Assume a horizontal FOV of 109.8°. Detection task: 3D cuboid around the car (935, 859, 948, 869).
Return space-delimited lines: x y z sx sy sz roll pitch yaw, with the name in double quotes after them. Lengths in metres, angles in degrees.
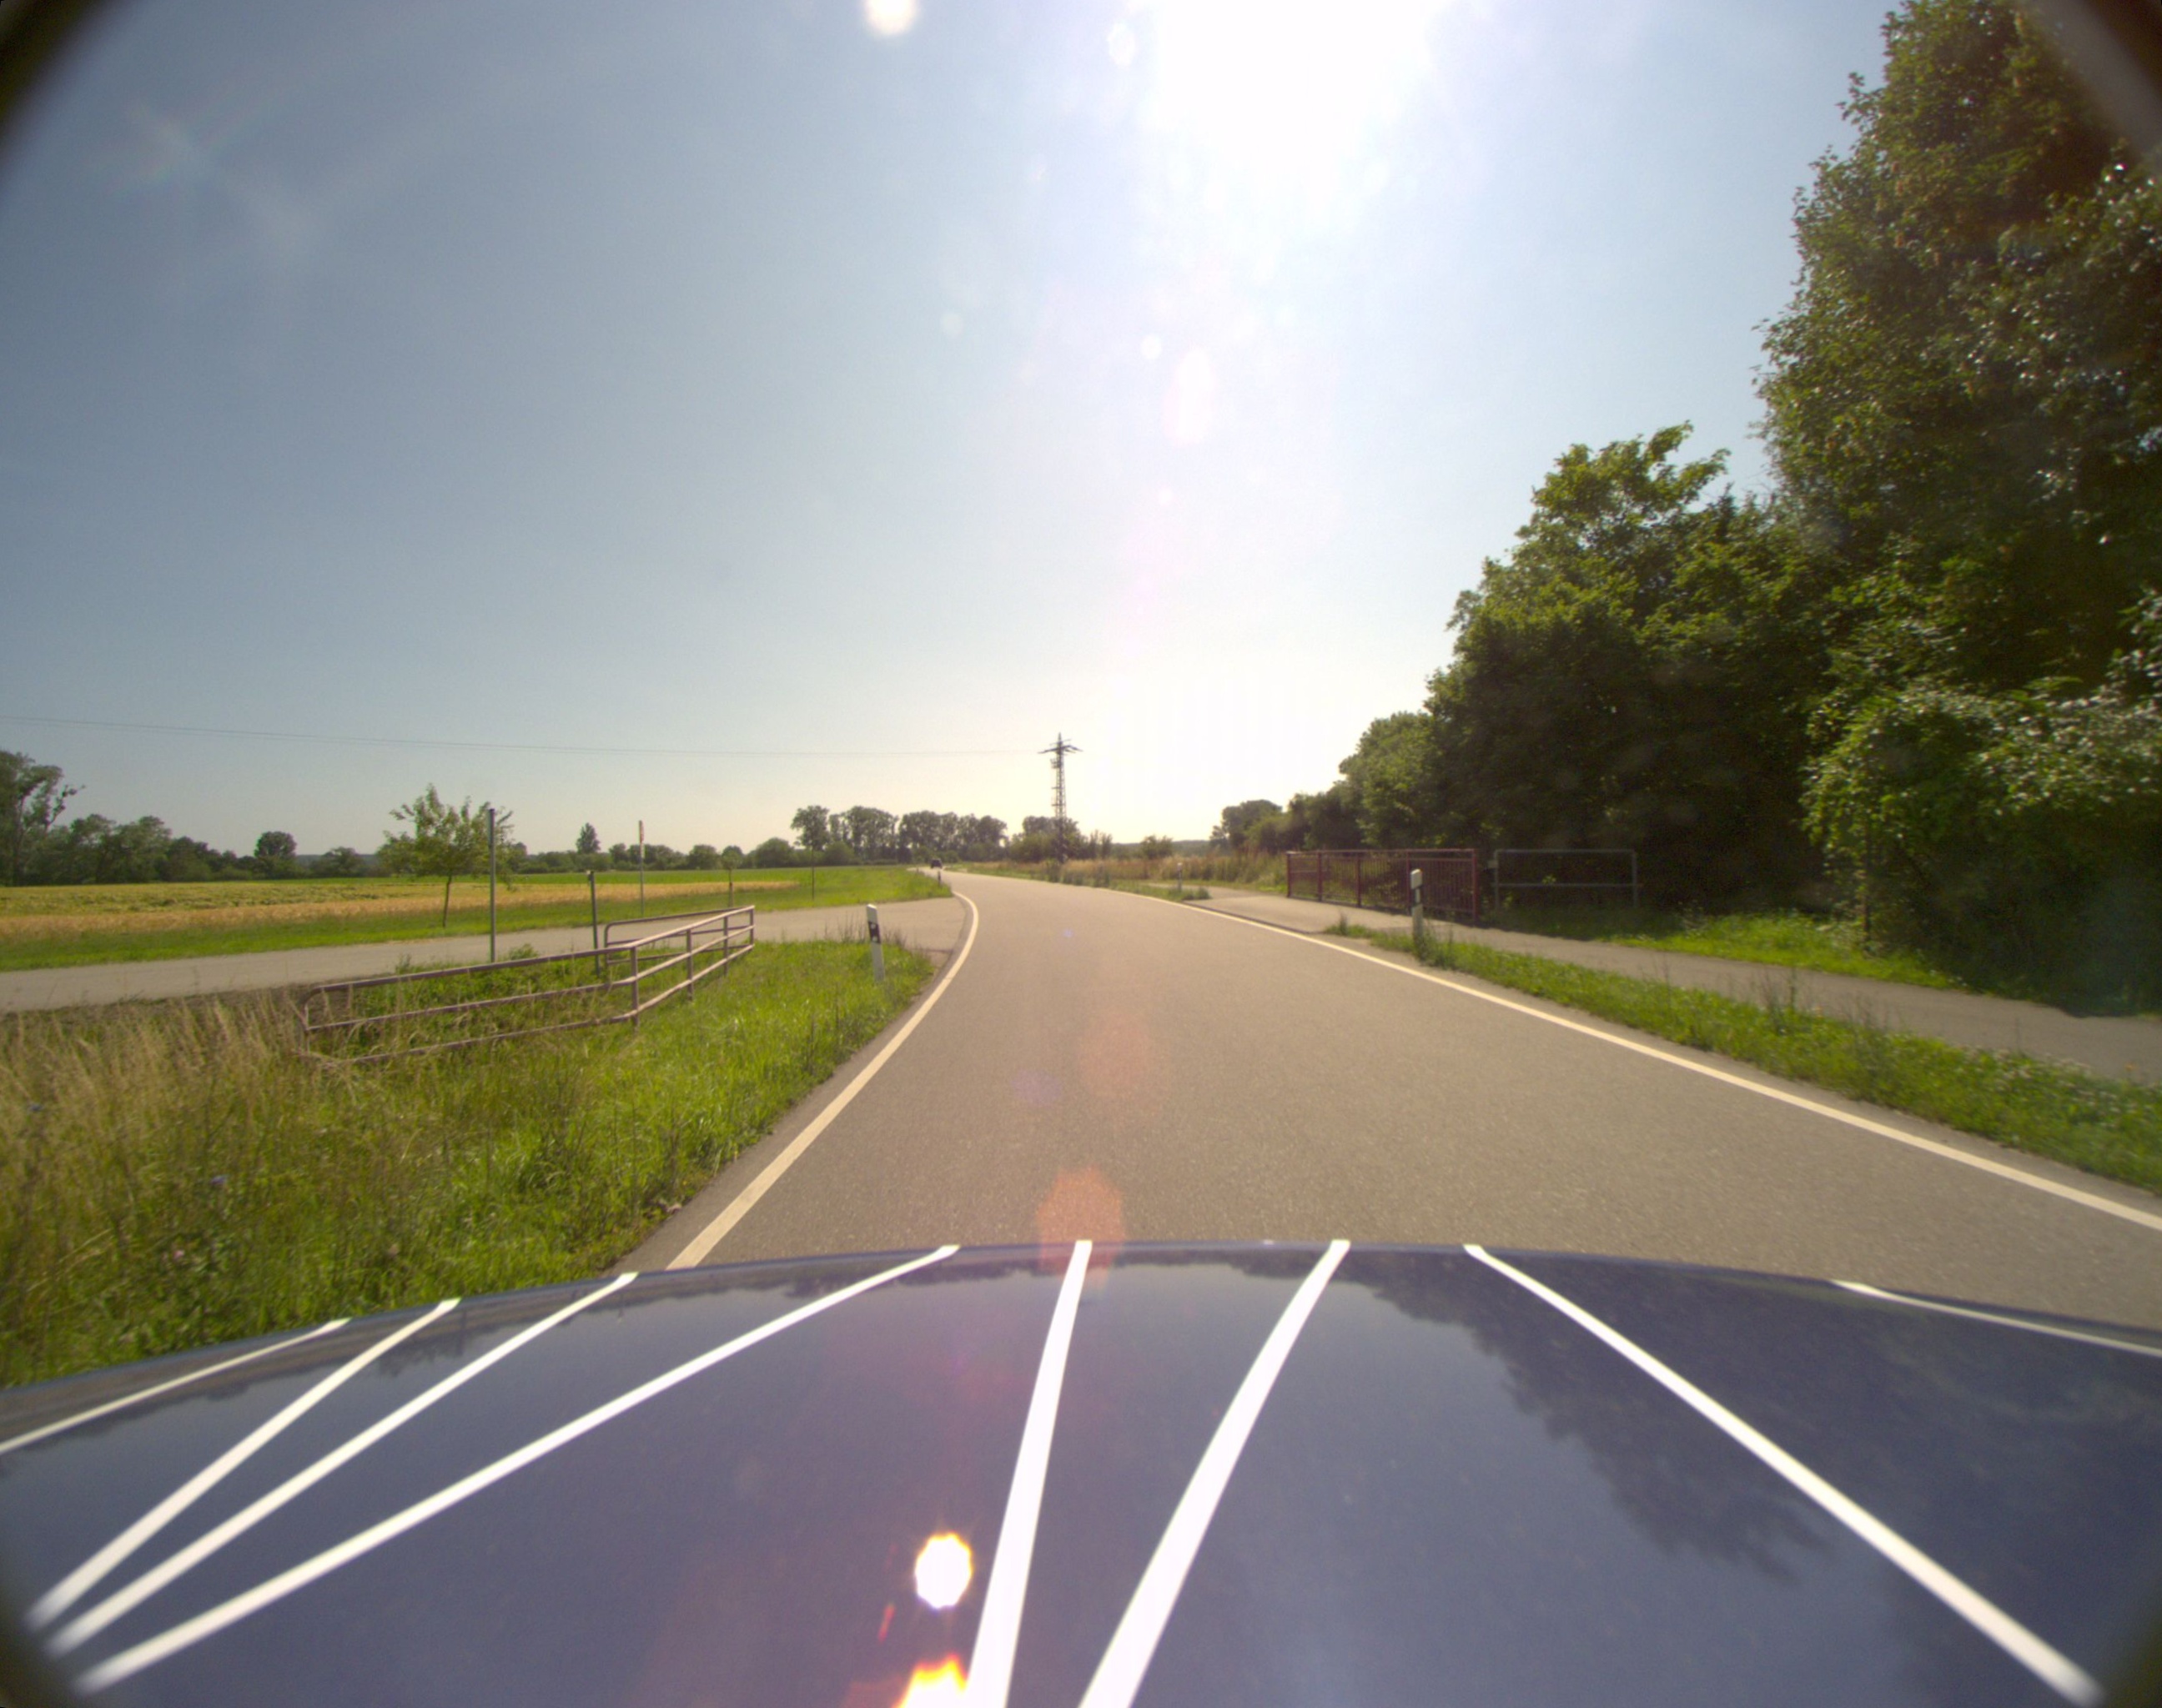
-24.615 1.693 133.914 1.871 1.742 4.294 0 0 -6 "car"
